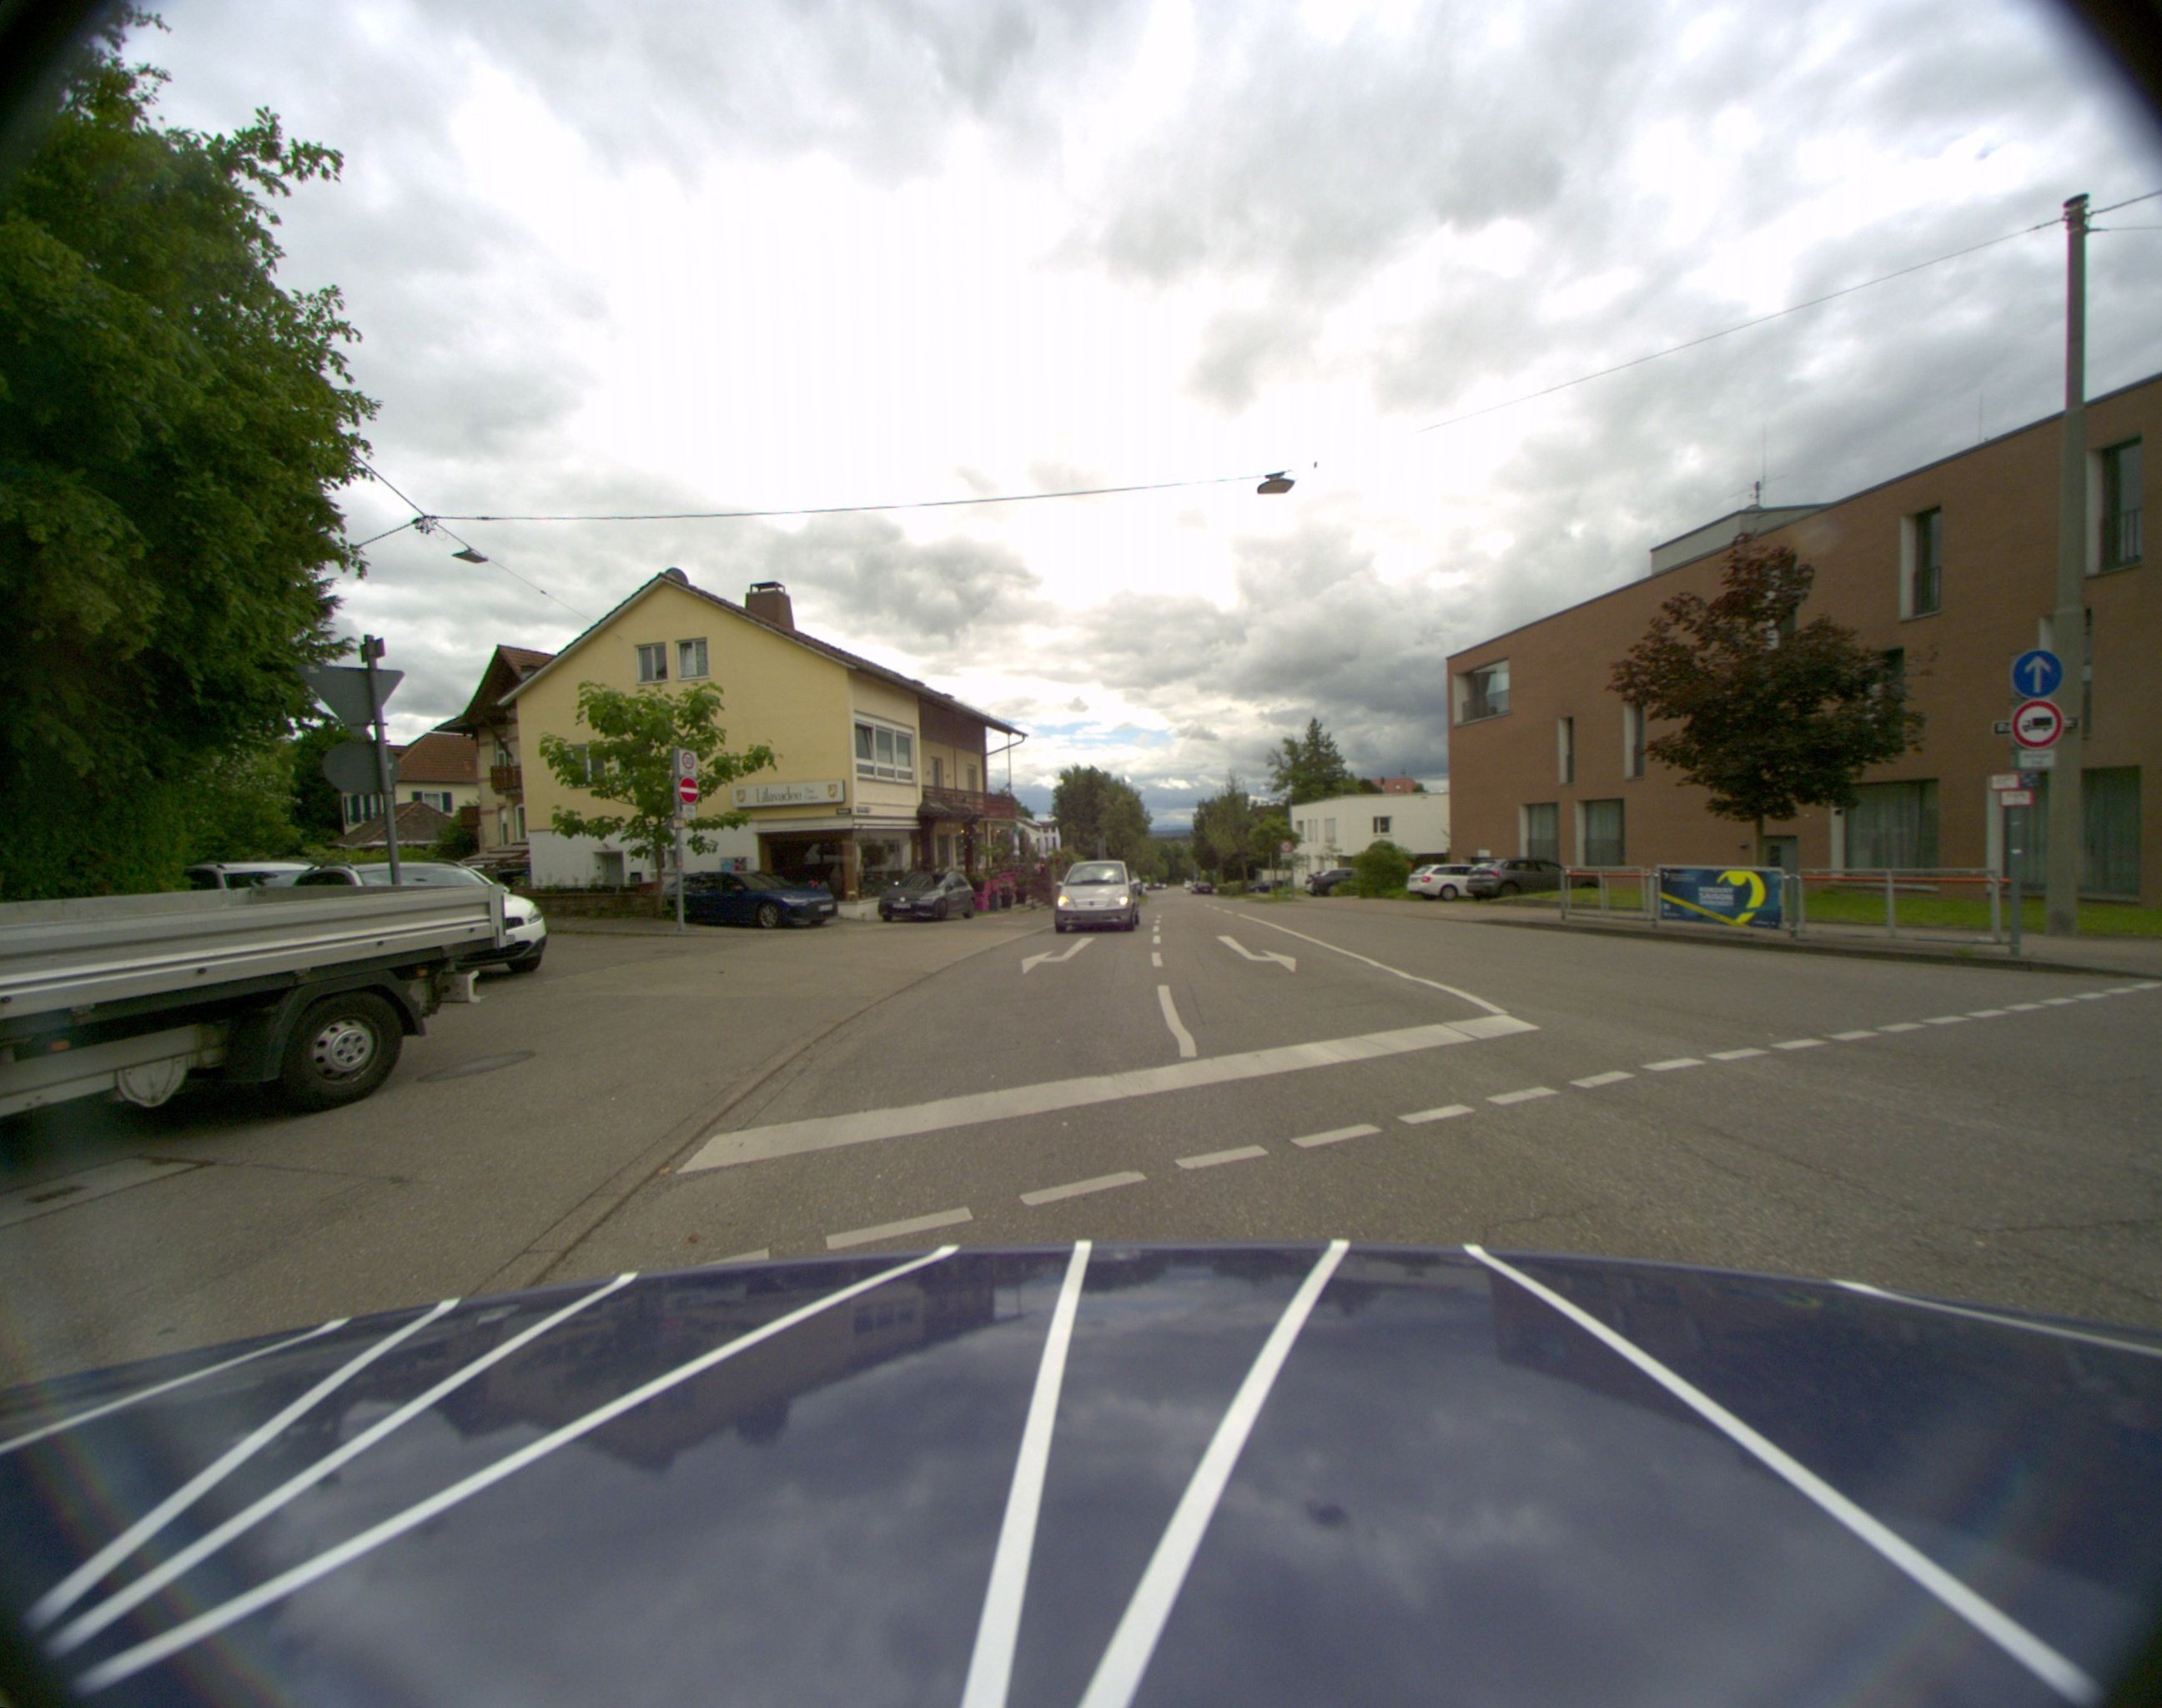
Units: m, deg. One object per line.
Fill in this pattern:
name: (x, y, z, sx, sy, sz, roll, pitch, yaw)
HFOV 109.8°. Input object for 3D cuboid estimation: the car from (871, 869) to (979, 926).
car: (-4.484, 1.269, 22.473, 1.873, 1.483, 3.887, -2, -3, 8)

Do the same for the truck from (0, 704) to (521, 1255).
truck: (-5.834, 0.564, 2.873, 2.401, 2.338, 6.190, -1, 1, 5)

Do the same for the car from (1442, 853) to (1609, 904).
car: (14.852, 0.809, 25.567, 4.433, 1.548, 2.000, -1, 0, 1)

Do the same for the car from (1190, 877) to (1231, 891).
car: (14.945, 3.495, 88.084, 4.433, 1.548, 2.000, -1, 0, 1)

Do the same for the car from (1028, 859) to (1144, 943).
car: (0.251, 1.028, 17.011, 1.997, 1.585, 4.005, -2, -3, 8)

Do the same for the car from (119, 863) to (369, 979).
car: (-14.366, 1.043, 13.026, 4.056, 1.651, 1.872, -1, 1, 28)

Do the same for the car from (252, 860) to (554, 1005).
car: (-9.602, 0.966, 10.730, 4.056, 1.631, 1.872, -1, 2, 29)

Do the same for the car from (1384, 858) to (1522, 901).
car: (14.561, 0.995, 29.897, 4.433, 1.548, 2.000, -1, 0, 1)

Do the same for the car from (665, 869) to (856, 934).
car: (-8.104, 1.176, 19.290, 4.220, 1.519, 1.935, -1, -2, 18)

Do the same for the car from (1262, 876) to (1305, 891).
car: (23.040, 3.323, 86.525, 4.433, 1.548, 2.000, -1, 0, 1)
